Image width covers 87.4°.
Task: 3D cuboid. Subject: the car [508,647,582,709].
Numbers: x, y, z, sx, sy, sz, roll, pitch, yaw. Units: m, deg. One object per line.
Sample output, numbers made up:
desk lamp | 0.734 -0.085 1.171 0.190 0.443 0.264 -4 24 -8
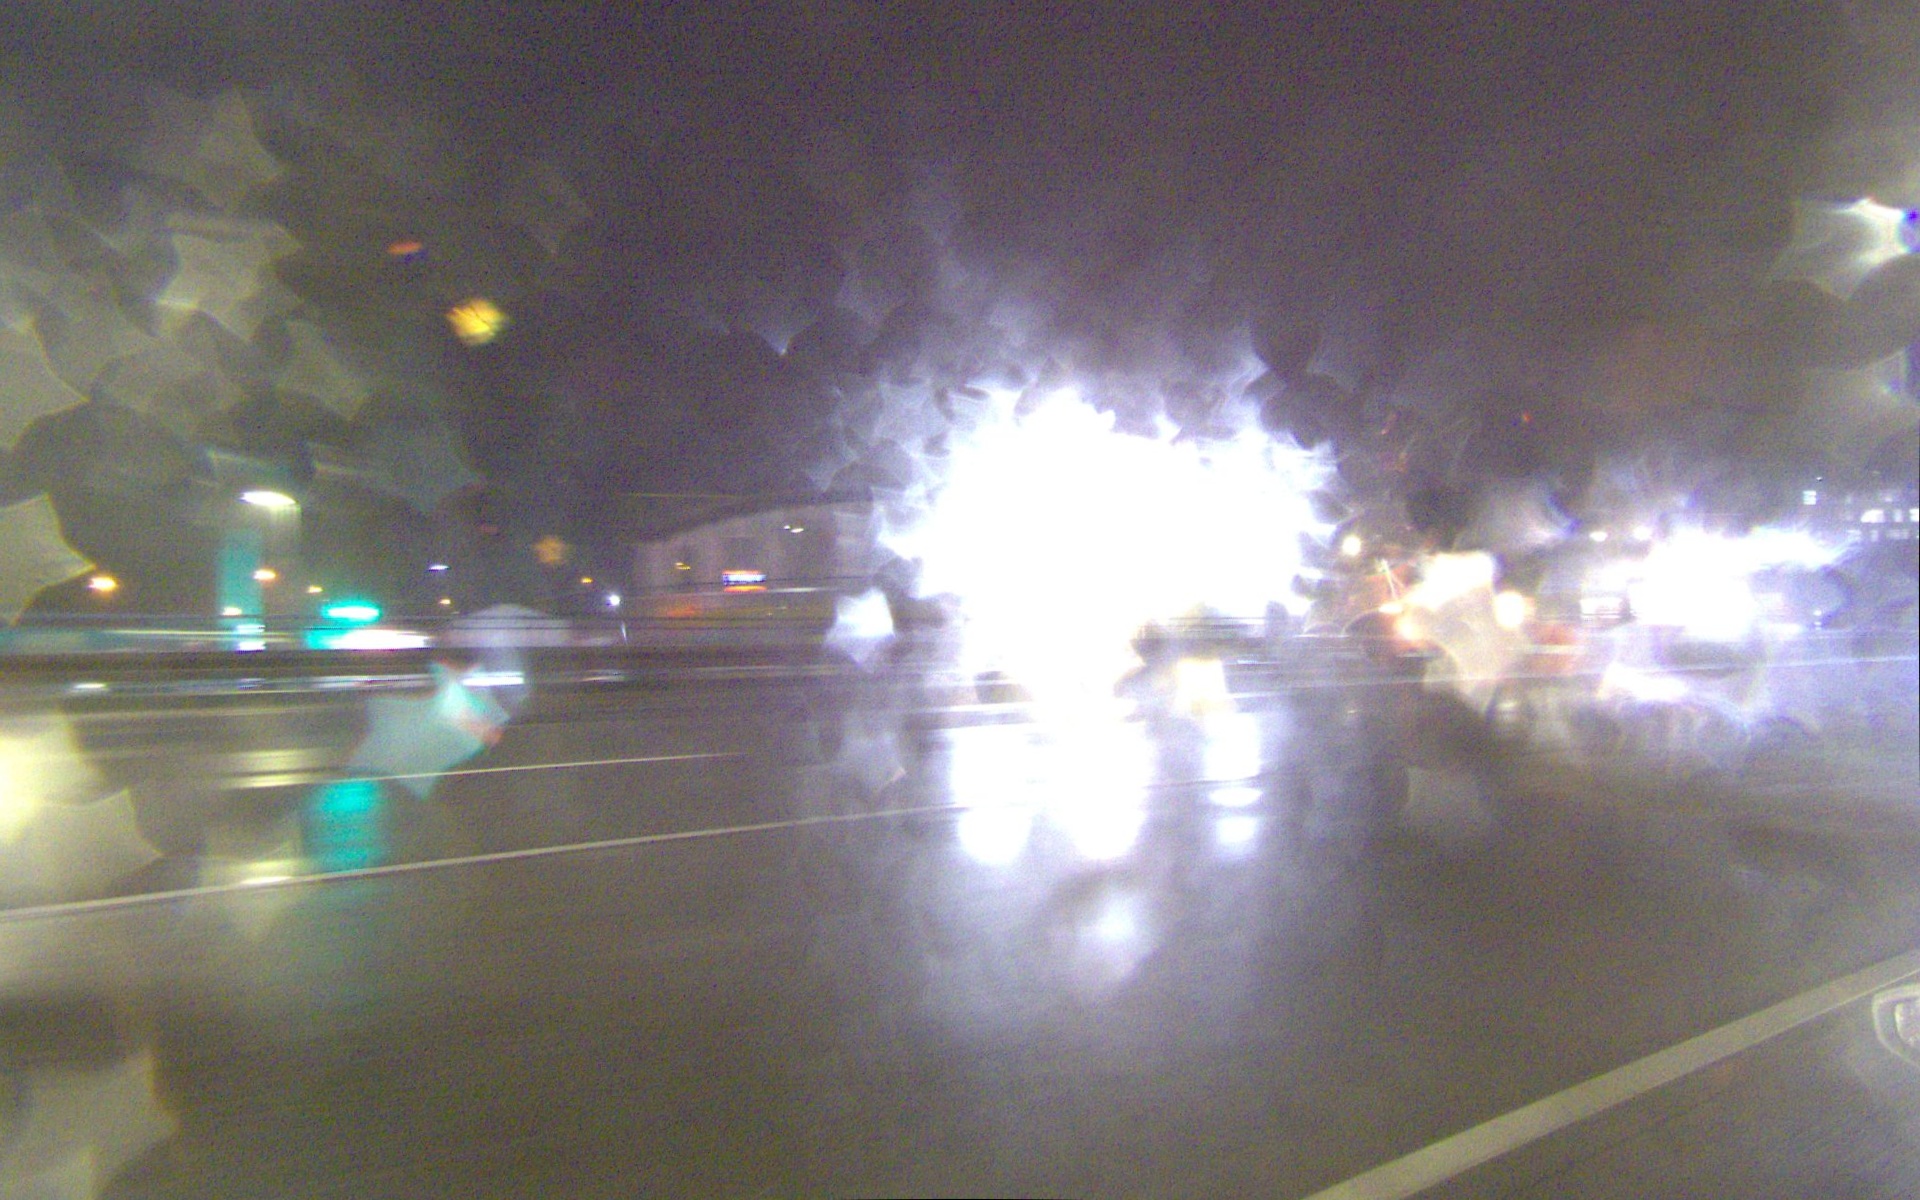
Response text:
car | -12.933 2.383 31.147 1.777 1.745 4.400 0 -4 -27
